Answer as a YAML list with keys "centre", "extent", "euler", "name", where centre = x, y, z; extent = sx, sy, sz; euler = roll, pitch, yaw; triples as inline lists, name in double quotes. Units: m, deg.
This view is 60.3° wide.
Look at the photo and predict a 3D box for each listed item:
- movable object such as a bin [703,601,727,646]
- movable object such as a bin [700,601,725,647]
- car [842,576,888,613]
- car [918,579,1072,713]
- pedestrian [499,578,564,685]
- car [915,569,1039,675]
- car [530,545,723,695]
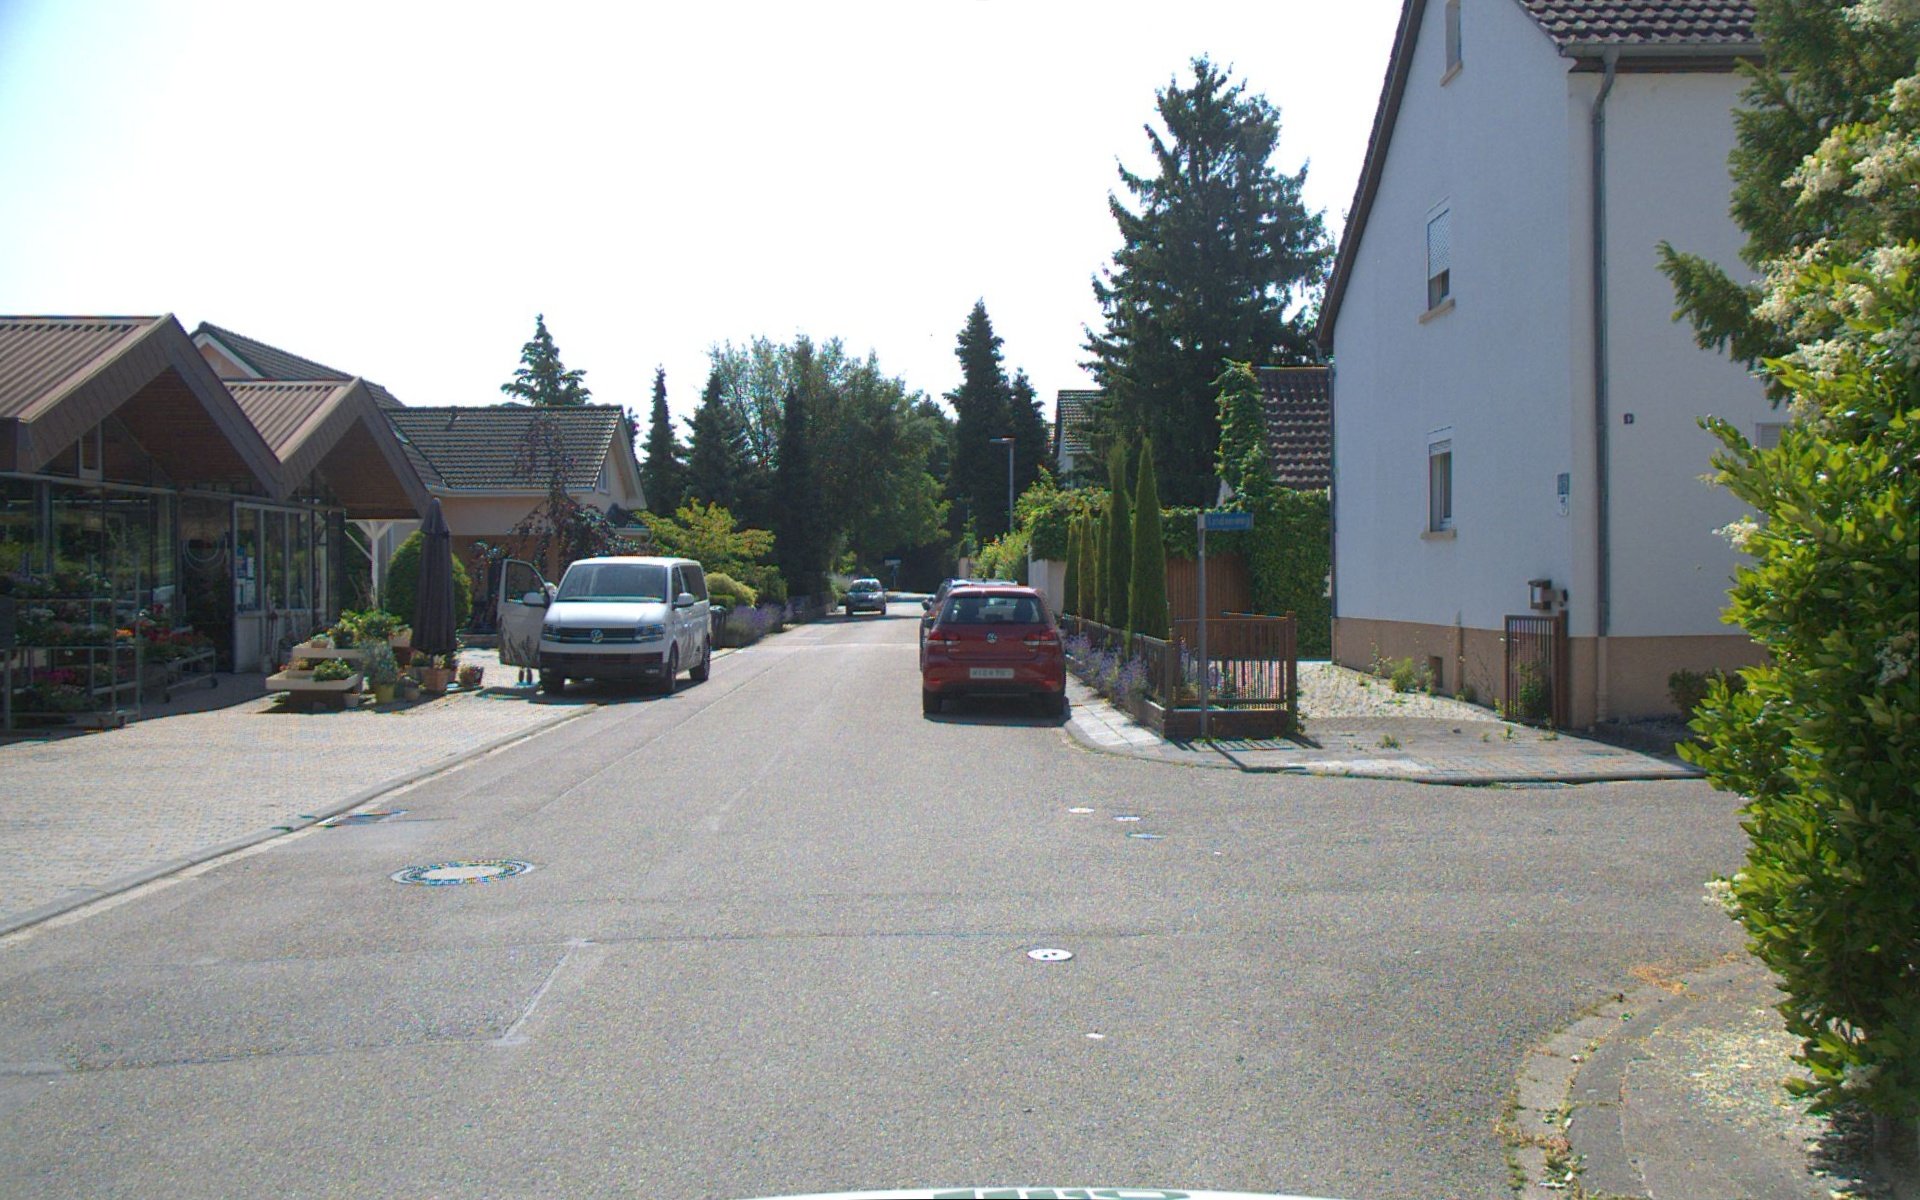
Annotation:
- centre: [-5.736, 0.541, 38.780]
  extent: [0.484, 1.042, 0.447]
  euler: [-1, 1, -1]
  name: "movable object such as a bin"
- centre: [-5.732, 0.554, 38.304]
  extent: [0.484, 1.042, 0.447]
  euler: [-1, 1, -1]
  name: "movable object such as a bin"
- centre: [-4.005, -0.255, 70.536]
  extent: [1.717, 1.513, 4.375]
  euler: [-1, 1, 0]
  name: "car"
- centre: [0.481, 0.508, 20.943]
  extent: [1.738, 1.505, 4.001]
  euler: [1, 1, 2]
  name: "car"
- centre: [-6.457, 0.462, 24.931]
  extent: [0.704, 1.565, 0.640]
  euler: [0, 1, 32]
  name: "pedestrian"
- centre: [0.213, 0.319, 27.768]
  extent: [1.786, 1.643, 3.997]
  euler: [0, 1, -4]
  name: "car"
- centre: [-4.925, 0.251, 25.168]
  extent: [1.889, 2.049, 4.896]
  euler: [-1, 1, 0]
  name: "car"
